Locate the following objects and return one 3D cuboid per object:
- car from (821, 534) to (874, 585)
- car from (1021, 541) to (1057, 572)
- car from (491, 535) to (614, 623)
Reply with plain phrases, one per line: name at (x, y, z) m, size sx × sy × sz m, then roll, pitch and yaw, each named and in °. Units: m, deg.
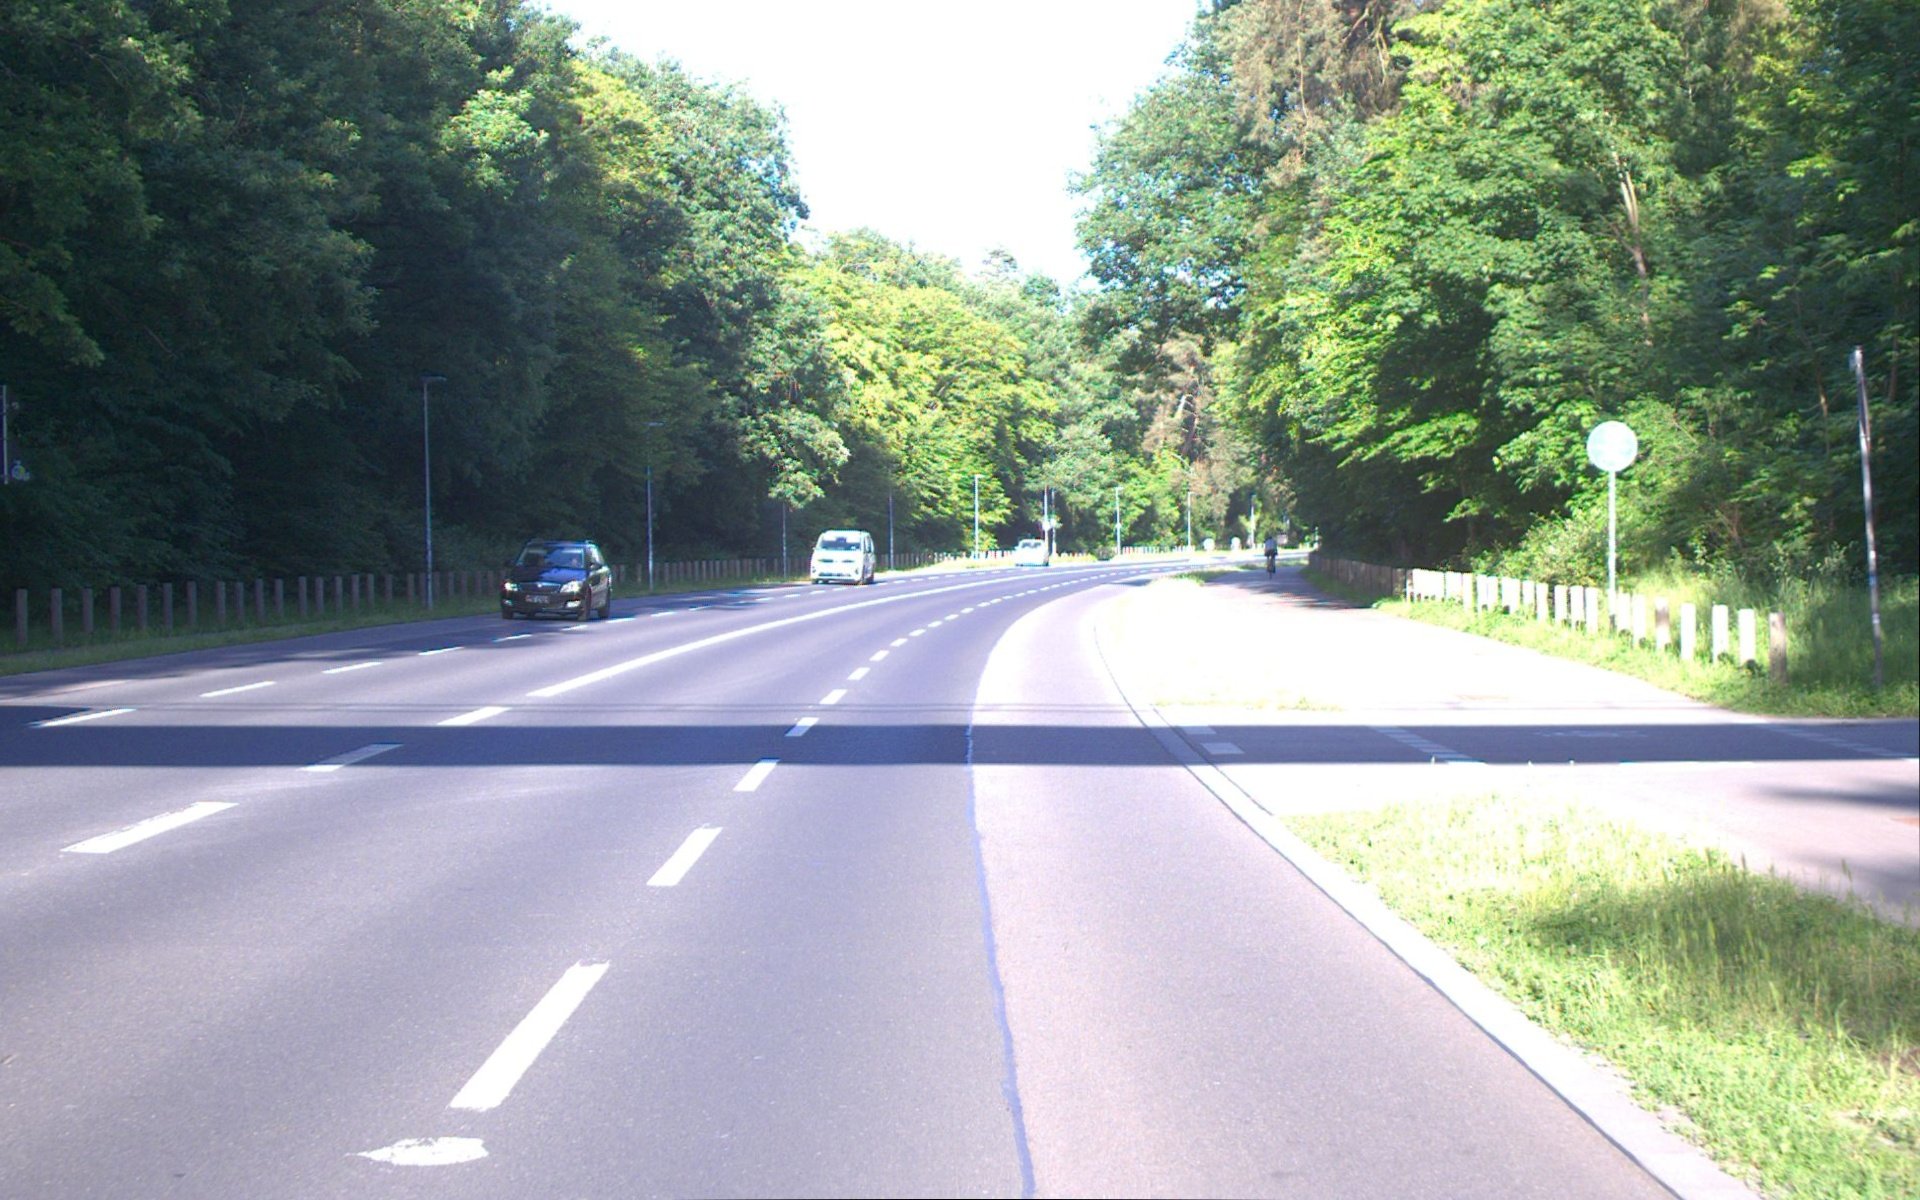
car at (-3.831, -1.413, 117.606) m, size 1.705 × 1.703 × 4.000 m, roll 0°, pitch 1°, yaw 0°
car at (4.401, -2.438, 191.425) m, size 1.784 × 1.703 × 3.999 m, roll 0°, pitch 1°, yaw 5°
car at (-7.699, -0.428, 65.231) m, size 1.722 × 1.568 × 4.177 m, roll 2°, pitch 1°, yaw 1°
